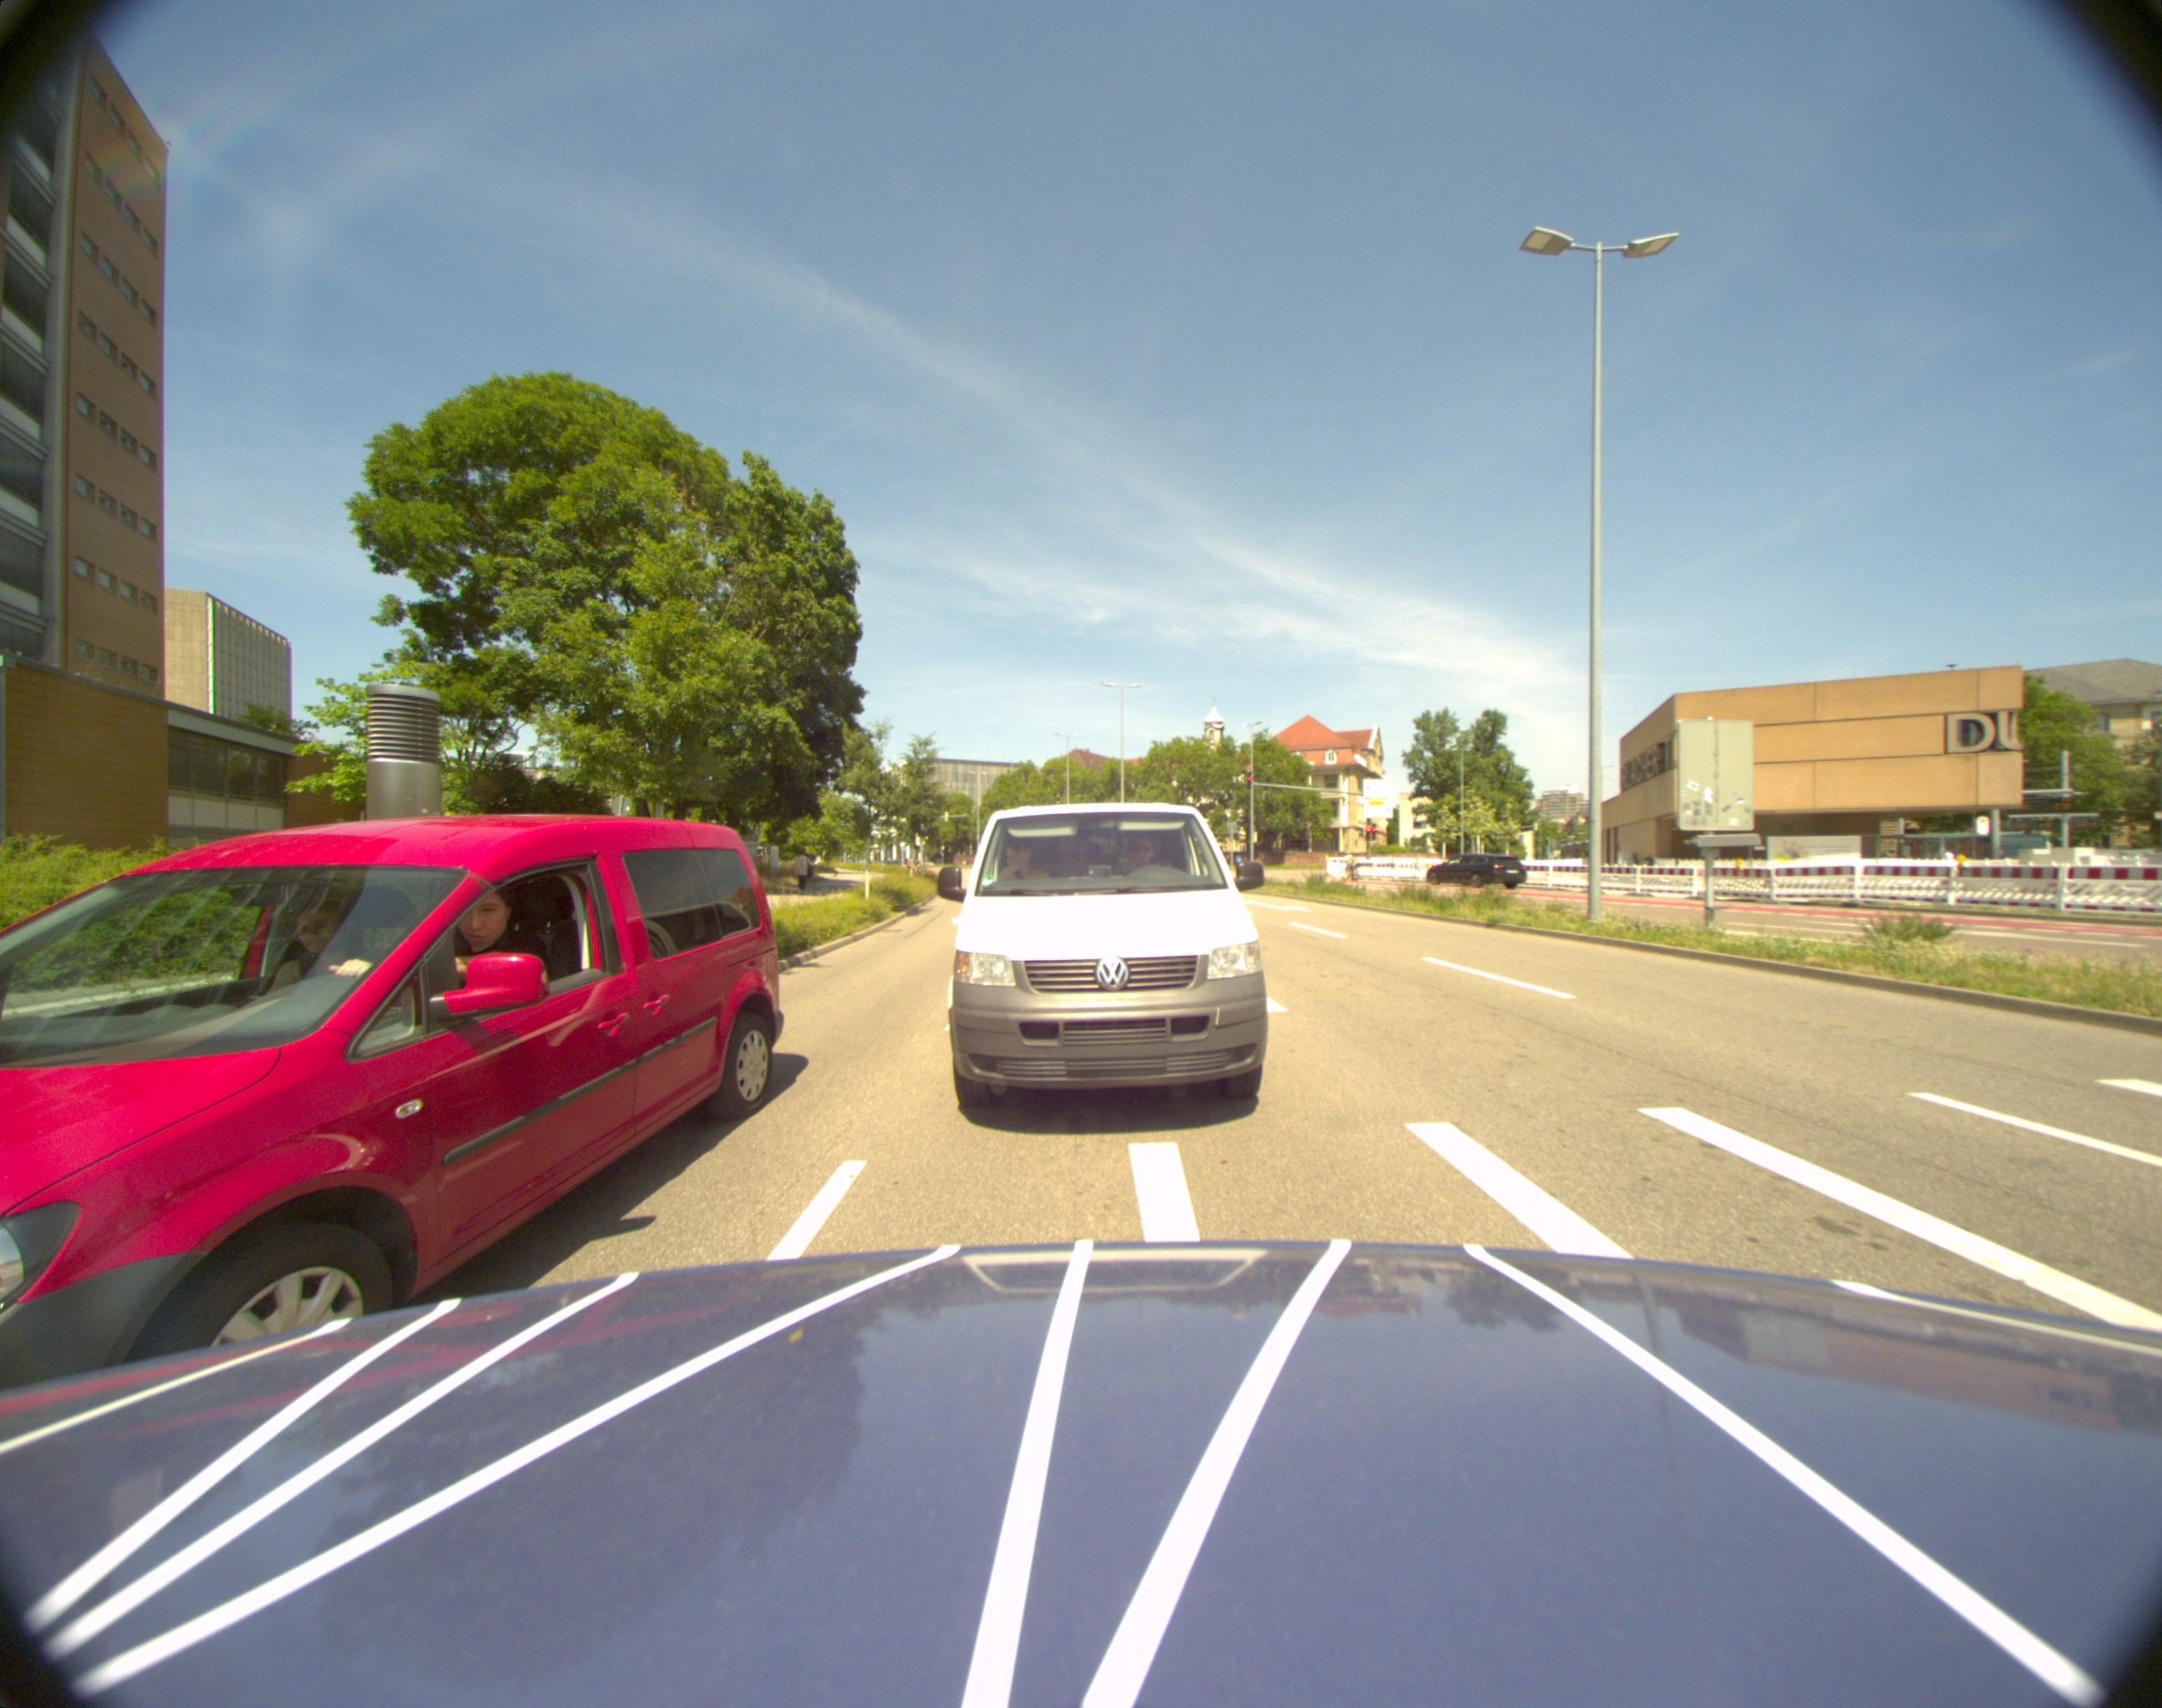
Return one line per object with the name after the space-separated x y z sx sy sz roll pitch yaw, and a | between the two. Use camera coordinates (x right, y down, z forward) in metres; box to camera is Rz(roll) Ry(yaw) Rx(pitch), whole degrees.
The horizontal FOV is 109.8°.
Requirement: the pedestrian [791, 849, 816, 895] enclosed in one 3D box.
-10.966 0.715 30.044 0.728 1.787 0.614 0 1 1 | pedestrian

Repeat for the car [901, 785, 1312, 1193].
0.110 0.661 6.191 1.971 1.958 4.848 -2 0 -1 | car

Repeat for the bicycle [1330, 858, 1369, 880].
14.362 0.792 40.746 0.879 1.066 2.229 -2 1 -14 | bicycle

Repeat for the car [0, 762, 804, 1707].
-2.842 0.766 3.089 1.655 1.848 4.546 -1 0 1 | car

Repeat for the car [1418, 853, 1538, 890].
17.033 0.694 32.934 2.000 1.456 4.841 0 0 -11 | car

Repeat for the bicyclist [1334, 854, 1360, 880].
14.331 0.677 40.952 0.587 1.348 1.438 -3 1 -14 | bicyclist
